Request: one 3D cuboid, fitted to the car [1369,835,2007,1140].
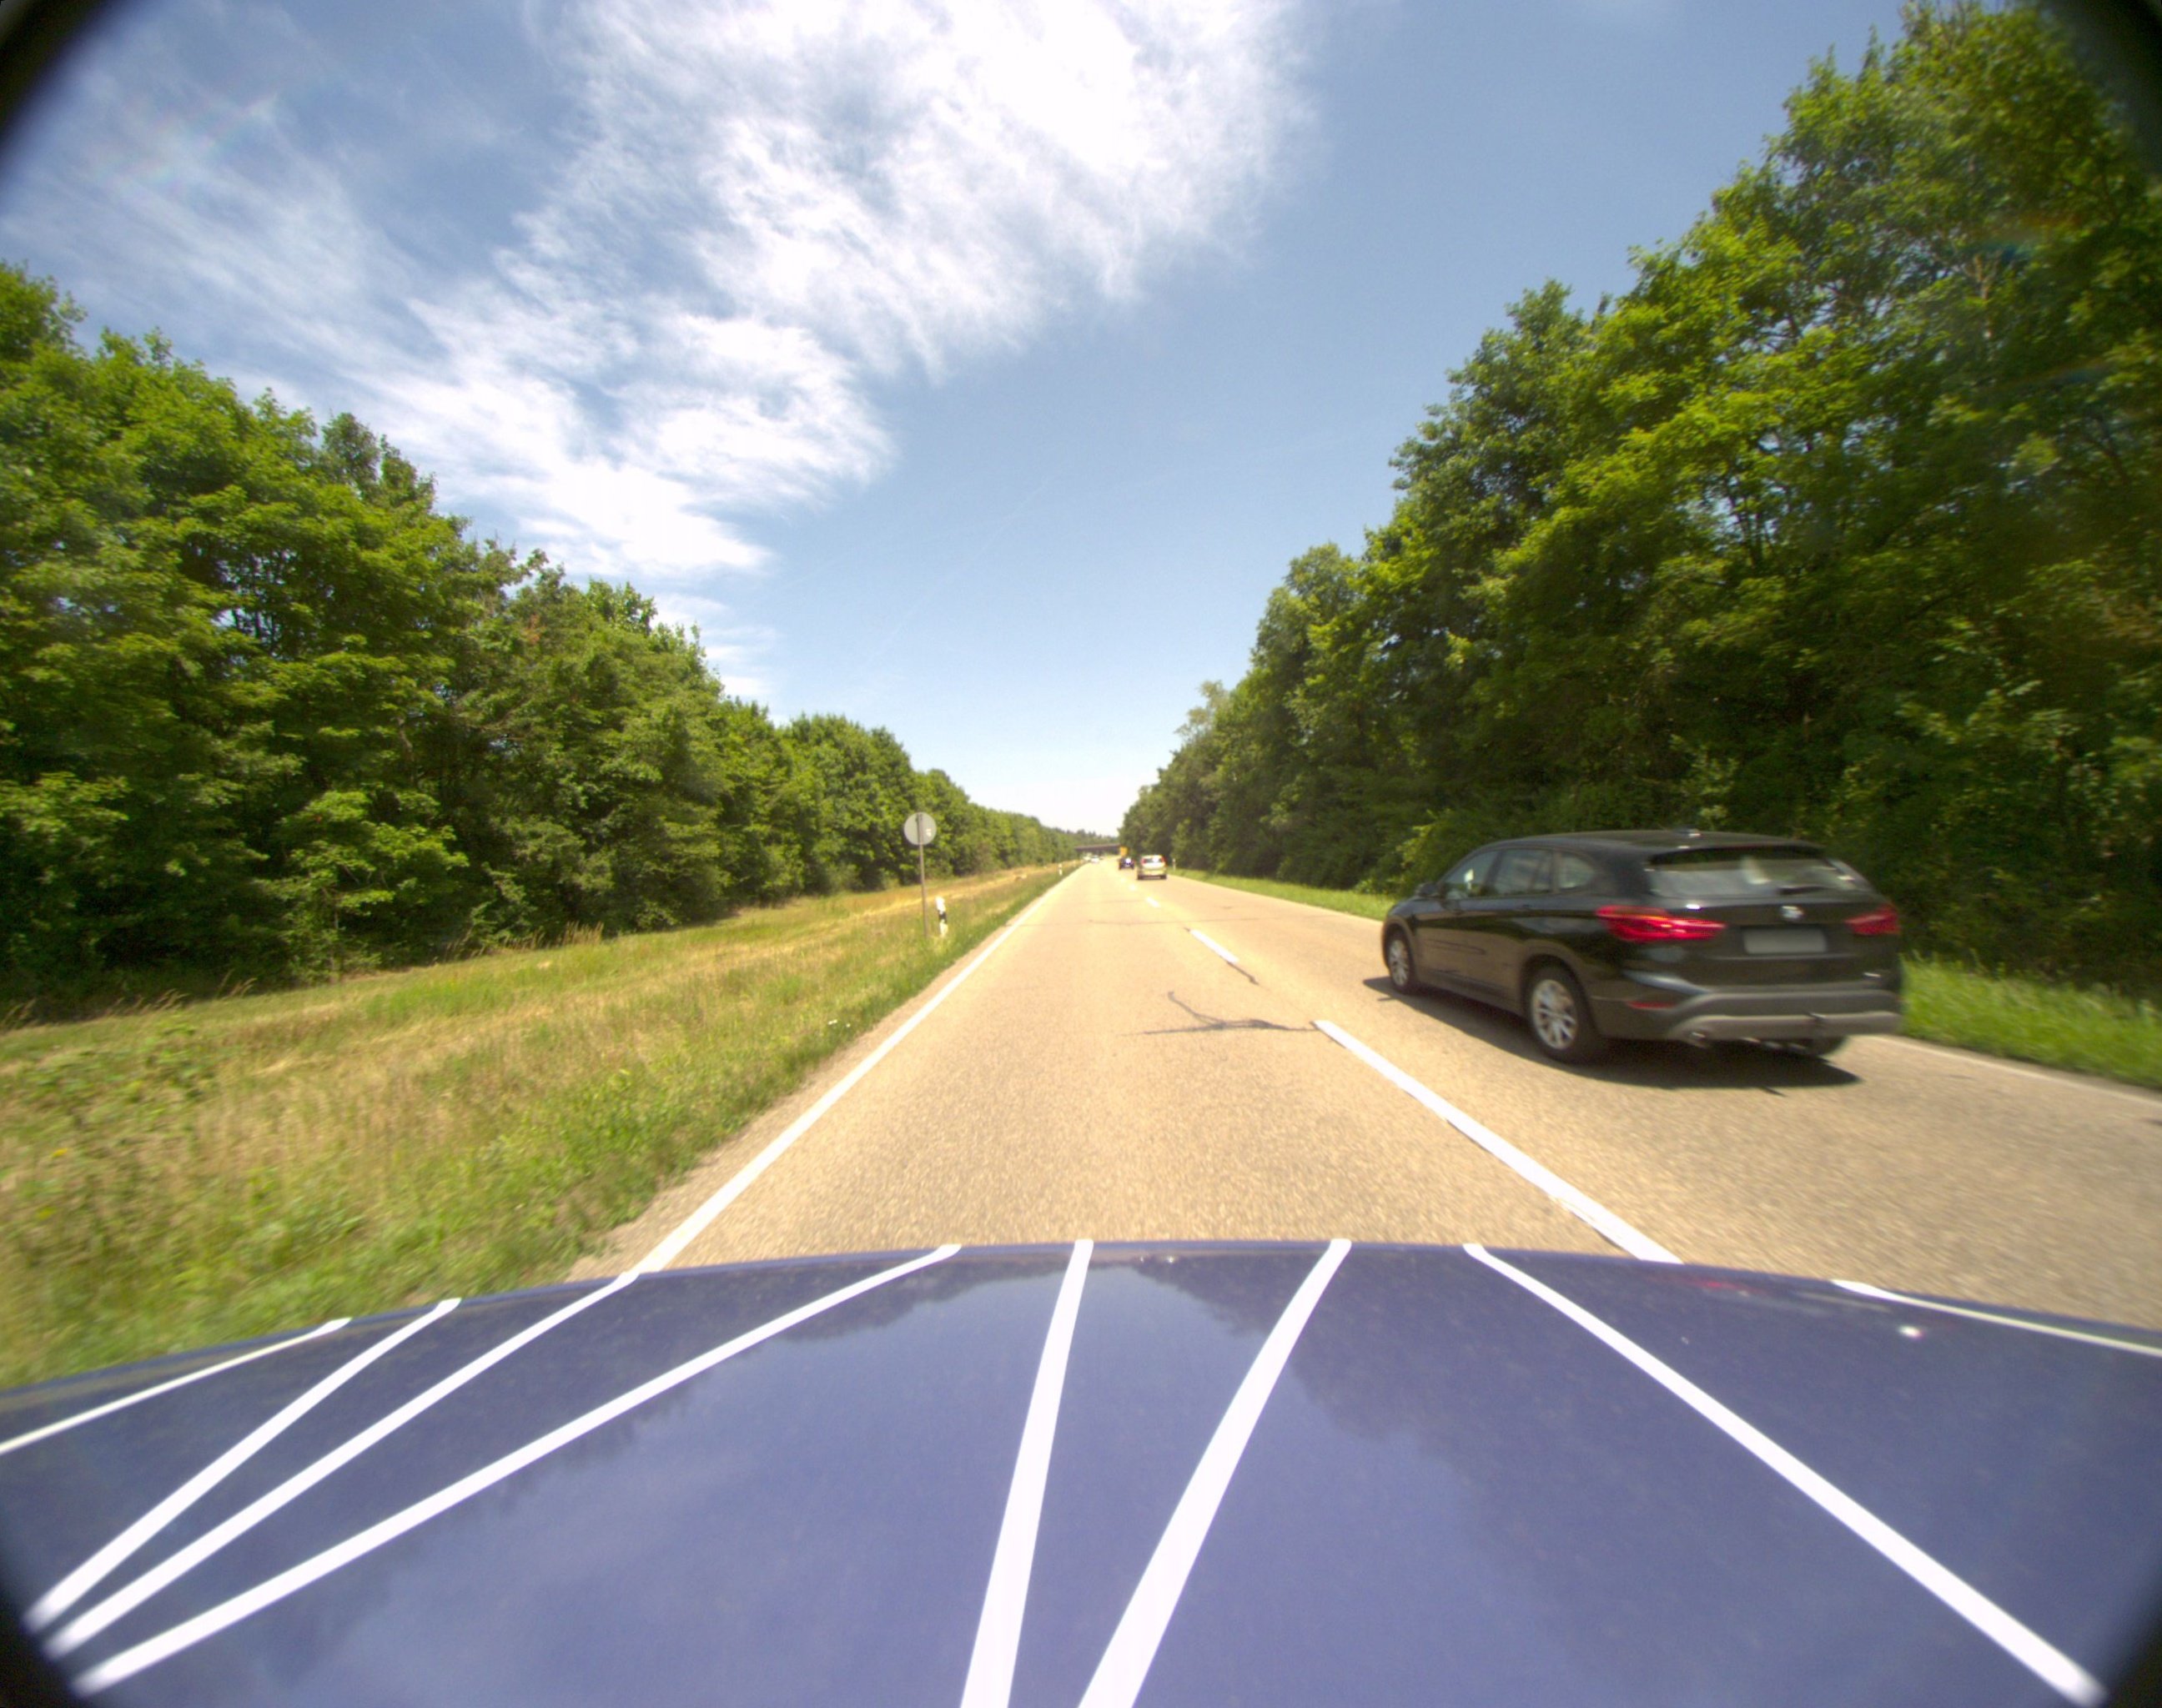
[{"bbox_3d":[4.094,0.702,6.288,1.756,1.595,4.440,-2,0,1],"label":"car"}]

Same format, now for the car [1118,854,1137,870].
[{"bbox_3d":[5.237,0.886,86.218,1.891,1.651,3.705,-2,0,1],"label":"car"}]

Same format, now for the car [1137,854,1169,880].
[{"bbox_3d":[4.484,0.776,47.629,1.670,1.487,3.684,-2,0,2],"label":"car"}]

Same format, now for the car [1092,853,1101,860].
[{"bbox_3d":[3.812,0.646,189.064,1.865,1.747,4.000,-4,0,0],"label":"car"}]
